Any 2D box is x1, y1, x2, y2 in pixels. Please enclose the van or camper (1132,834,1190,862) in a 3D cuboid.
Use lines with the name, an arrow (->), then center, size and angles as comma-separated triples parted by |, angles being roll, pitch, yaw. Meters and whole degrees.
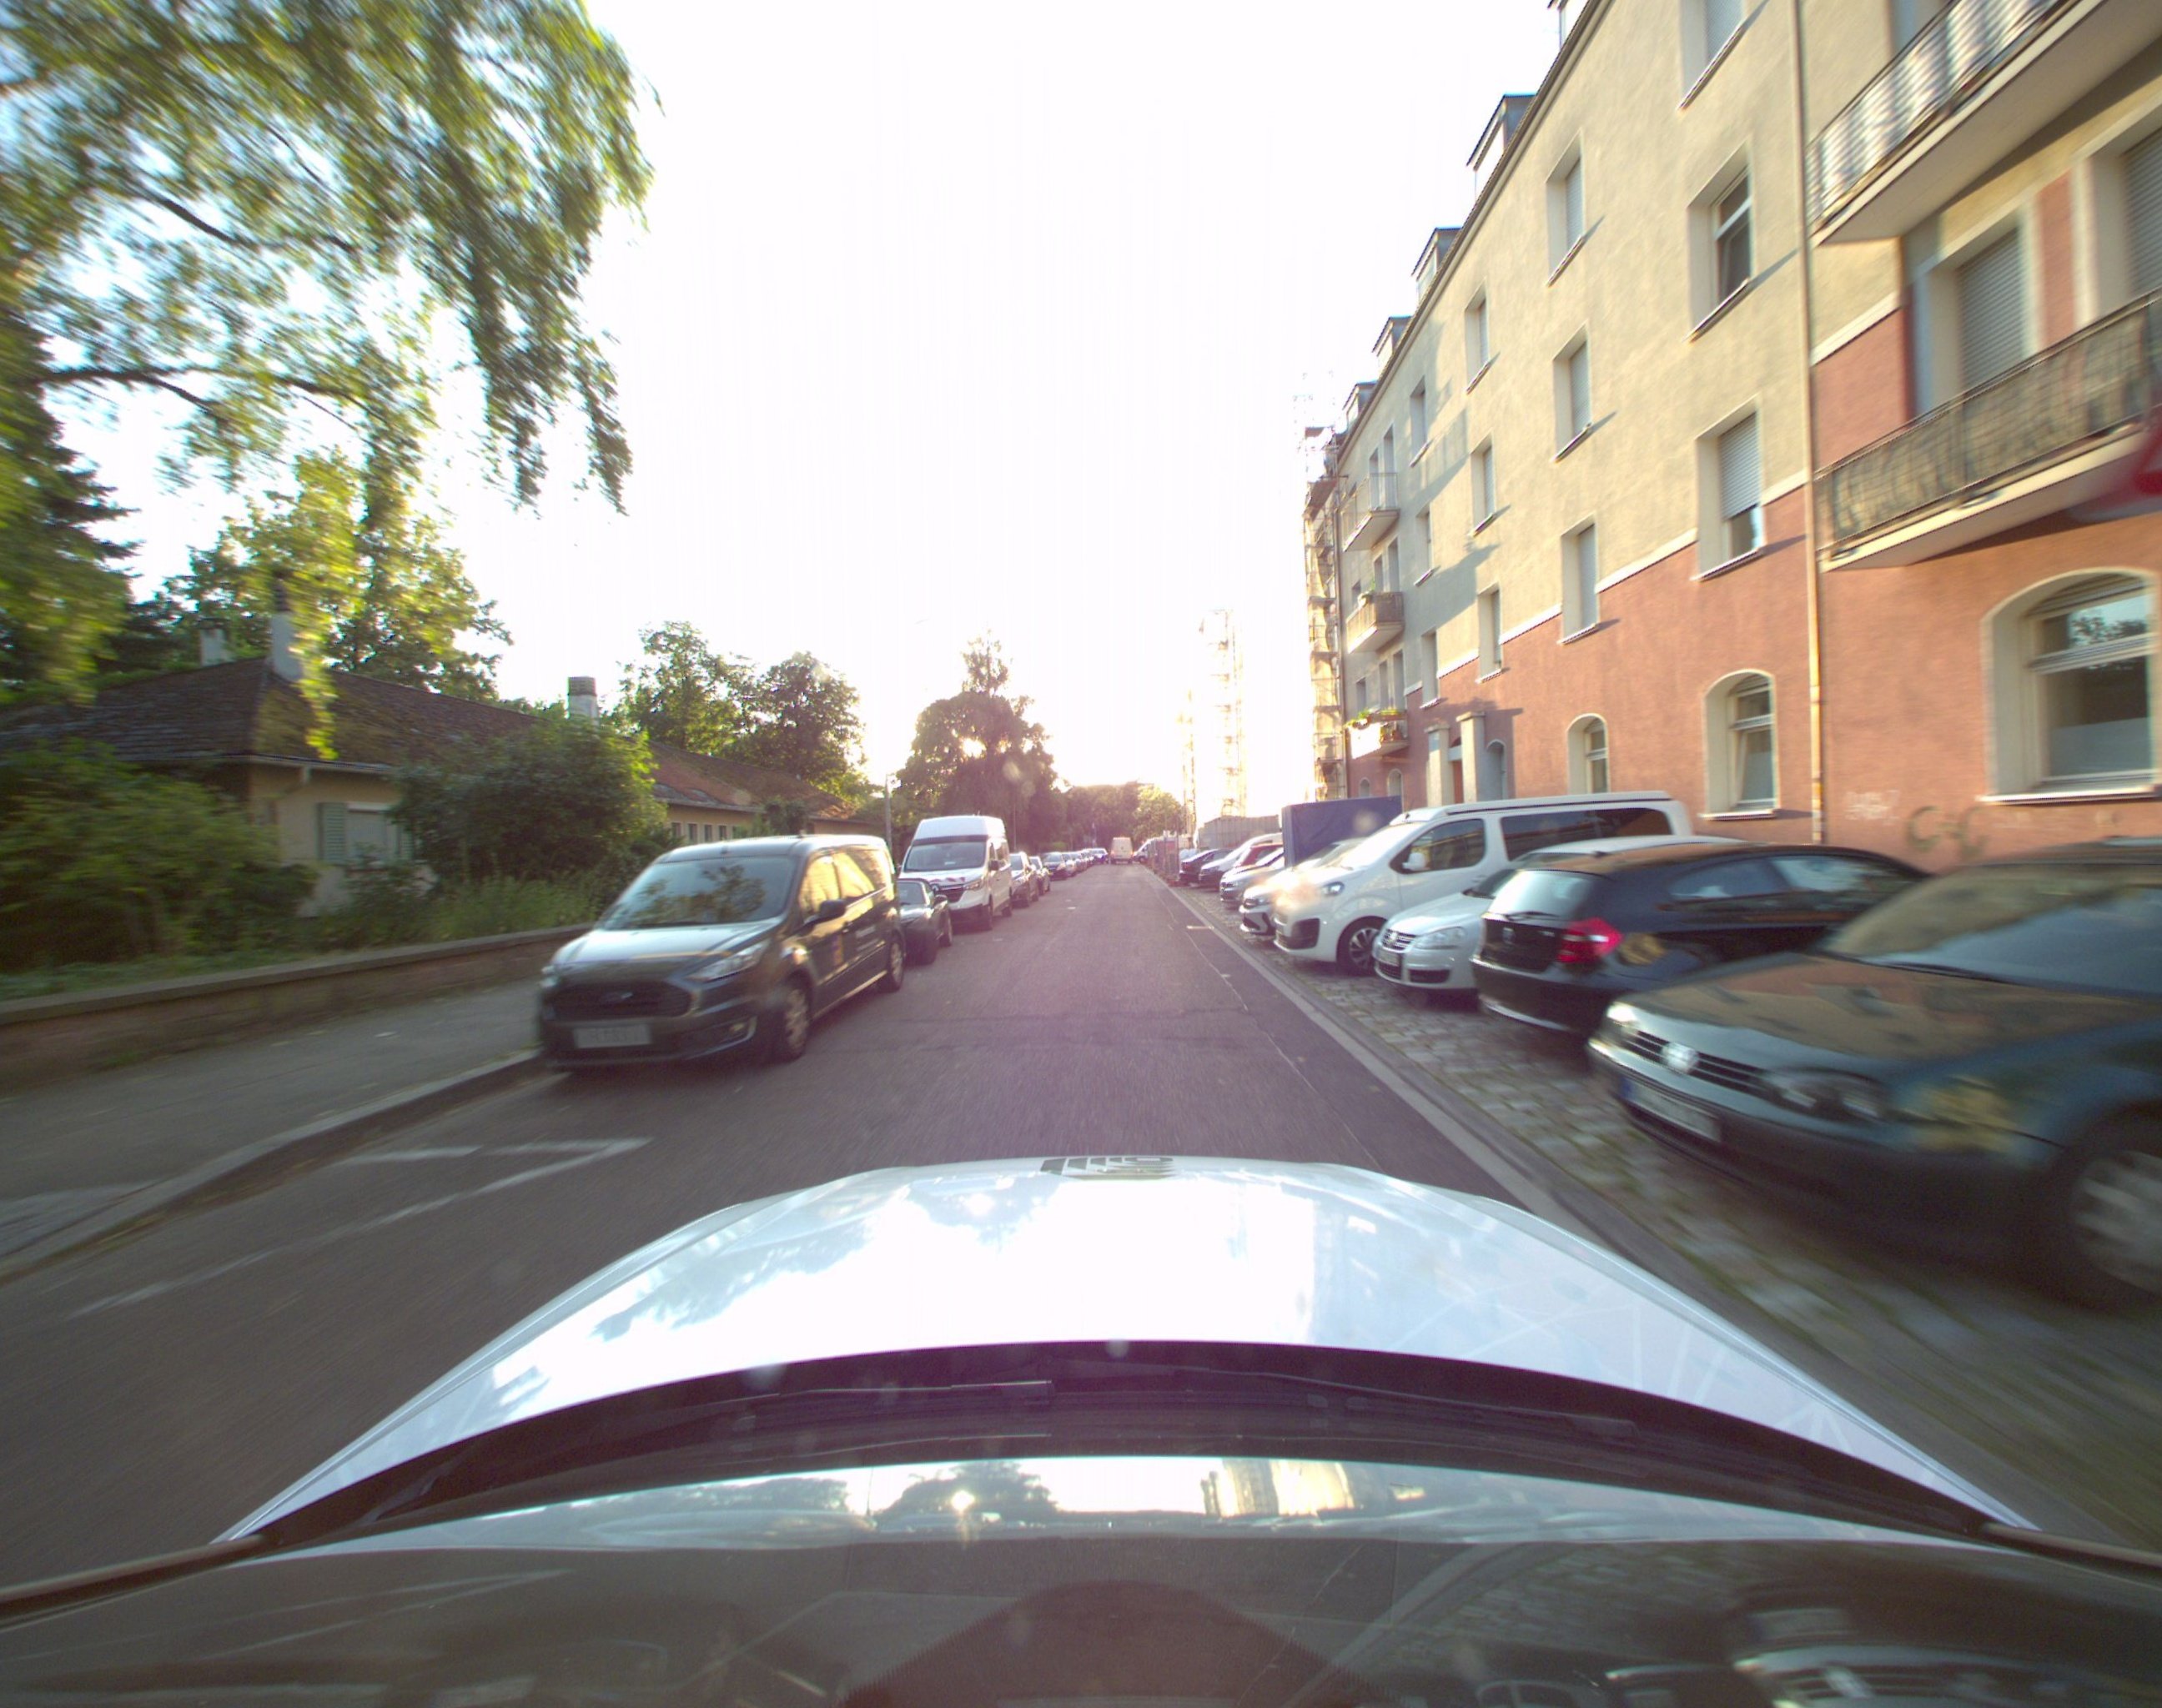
van or camper -> 8.280, -0.641, 84.643 | 5.906, 2.770, 2.110 | -1, 0, 1

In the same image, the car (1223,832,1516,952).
car -> 4.446, 0.572, 13.072 | 3.973, 1.640, 2.000 | -2, 0, 0

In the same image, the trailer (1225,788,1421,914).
trailer -> 5.169, -0.069, 17.762 | 3.556, 2.336, 1.940 | -4, 0, -1

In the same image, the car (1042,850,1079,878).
car -> -1.152, 0.536, 48.202 | 1.775, 1.445, 4.751 | -4, 0, 2

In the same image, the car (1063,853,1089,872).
car -> -0.332, 0.608, 61.942 | 1.652, 1.313, 4.158 | -3, 0, 3

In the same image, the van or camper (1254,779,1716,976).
van or camper -> 4.818, 0.266, 10.323 | 4.816, 2.096, 2.041 | -2, 0, 1

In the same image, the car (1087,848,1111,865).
car -> 1.881, 0.238, 84.003 | 1.793, 1.569, 4.578 | -2, 0, 10

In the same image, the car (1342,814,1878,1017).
car -> 4.890, 0.524, 8.041 | 3.973, 1.618, 2.000 | -2, 0, 0

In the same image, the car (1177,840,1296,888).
car -> 5.703, 0.355, 30.309 | 4.135, 1.615, 1.874 | -2, 0, 4

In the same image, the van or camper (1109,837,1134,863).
van or camper -> 4.098, -0.389, 81.957 | 2.443, 2.547, 6.088 | 0, 0, 3

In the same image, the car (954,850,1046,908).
car -> -2.315, 0.662, 24.635 | 1.985, 1.519, 4.793 | -2, 0, 3

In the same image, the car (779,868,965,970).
car -> -3.036, 0.890, 12.764 | 1.989, 1.189, 4.033 | -2, 0, -2

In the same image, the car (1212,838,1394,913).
car -> 5.435, 0.507, 20.310 | 3.975, 1.637, 1.903 | -2, 0, -1

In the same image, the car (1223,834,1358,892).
car -> 6.395, 0.264, 25.135 | 3.680, 1.610, 1.745 | -2, 0, 0

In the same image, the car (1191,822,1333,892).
car -> 6.066, 0.081, 27.586 | 4.259, 1.979, 1.819 | -5, 1, -5

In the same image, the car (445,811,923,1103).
car -> -3.046, 0.646, 7.733 | 1.903, 1.788, 4.951 | -3, 0, 2

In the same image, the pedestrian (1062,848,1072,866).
pedestrian -> -1.492, 0.326, 86.264 | 0.934, 1.830, 0.787 | -1, 0, 1

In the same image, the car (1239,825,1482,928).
car -> 5.229, 0.421, 15.686 | 3.973, 1.728, 2.000 | -2, -1, 1

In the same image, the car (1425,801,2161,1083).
car -> 4.849, 0.500, 5.759 | 3.973, 1.530, 2.000 | -2, 0, 0

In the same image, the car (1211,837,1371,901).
car -> 5.753, 0.399, 22.606 | 3.952, 1.571, 1.788 | -2, 0, -1

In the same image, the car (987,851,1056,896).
car -> -2.106, 0.667, 30.107 | 1.985, 1.453, 4.292 | -2, 0, 3

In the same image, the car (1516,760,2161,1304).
car -> 4.352, 0.467, 3.379 | 4.089, 1.585, 1.854 | -2, 0, -1

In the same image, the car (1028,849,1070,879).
car -> -1.633, 0.505, 42.574 | 1.987, 1.453, 3.999 | -2, 0, 0

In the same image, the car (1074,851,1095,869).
car -> 0.316, 0.486, 74.103 | 1.709, 1.496, 4.362 | -3, 0, 2

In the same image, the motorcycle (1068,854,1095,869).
motorcycle -> 0.014, 0.638, 70.917 | 2.147, 1.303, 0.884 | -1, 0, 17

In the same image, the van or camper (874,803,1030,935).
van or camper -> -2.658, 0.262, 18.566 | 1.984, 2.456, 6.092 | -2, 0, 5

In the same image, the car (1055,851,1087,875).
car -> -0.644, 0.599, 56.659 | 1.852, 1.538, 4.761 | -3, 0, 2

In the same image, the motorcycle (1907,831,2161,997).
motorcycle -> 8.524, 0.443, 6.753 | 0.739, 1.235, 2.655 | -2, 0, 3

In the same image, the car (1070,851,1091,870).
car -> -0.017, 0.545, 67.699 | 1.595, 1.431, 3.805 | -5, 0, 2
